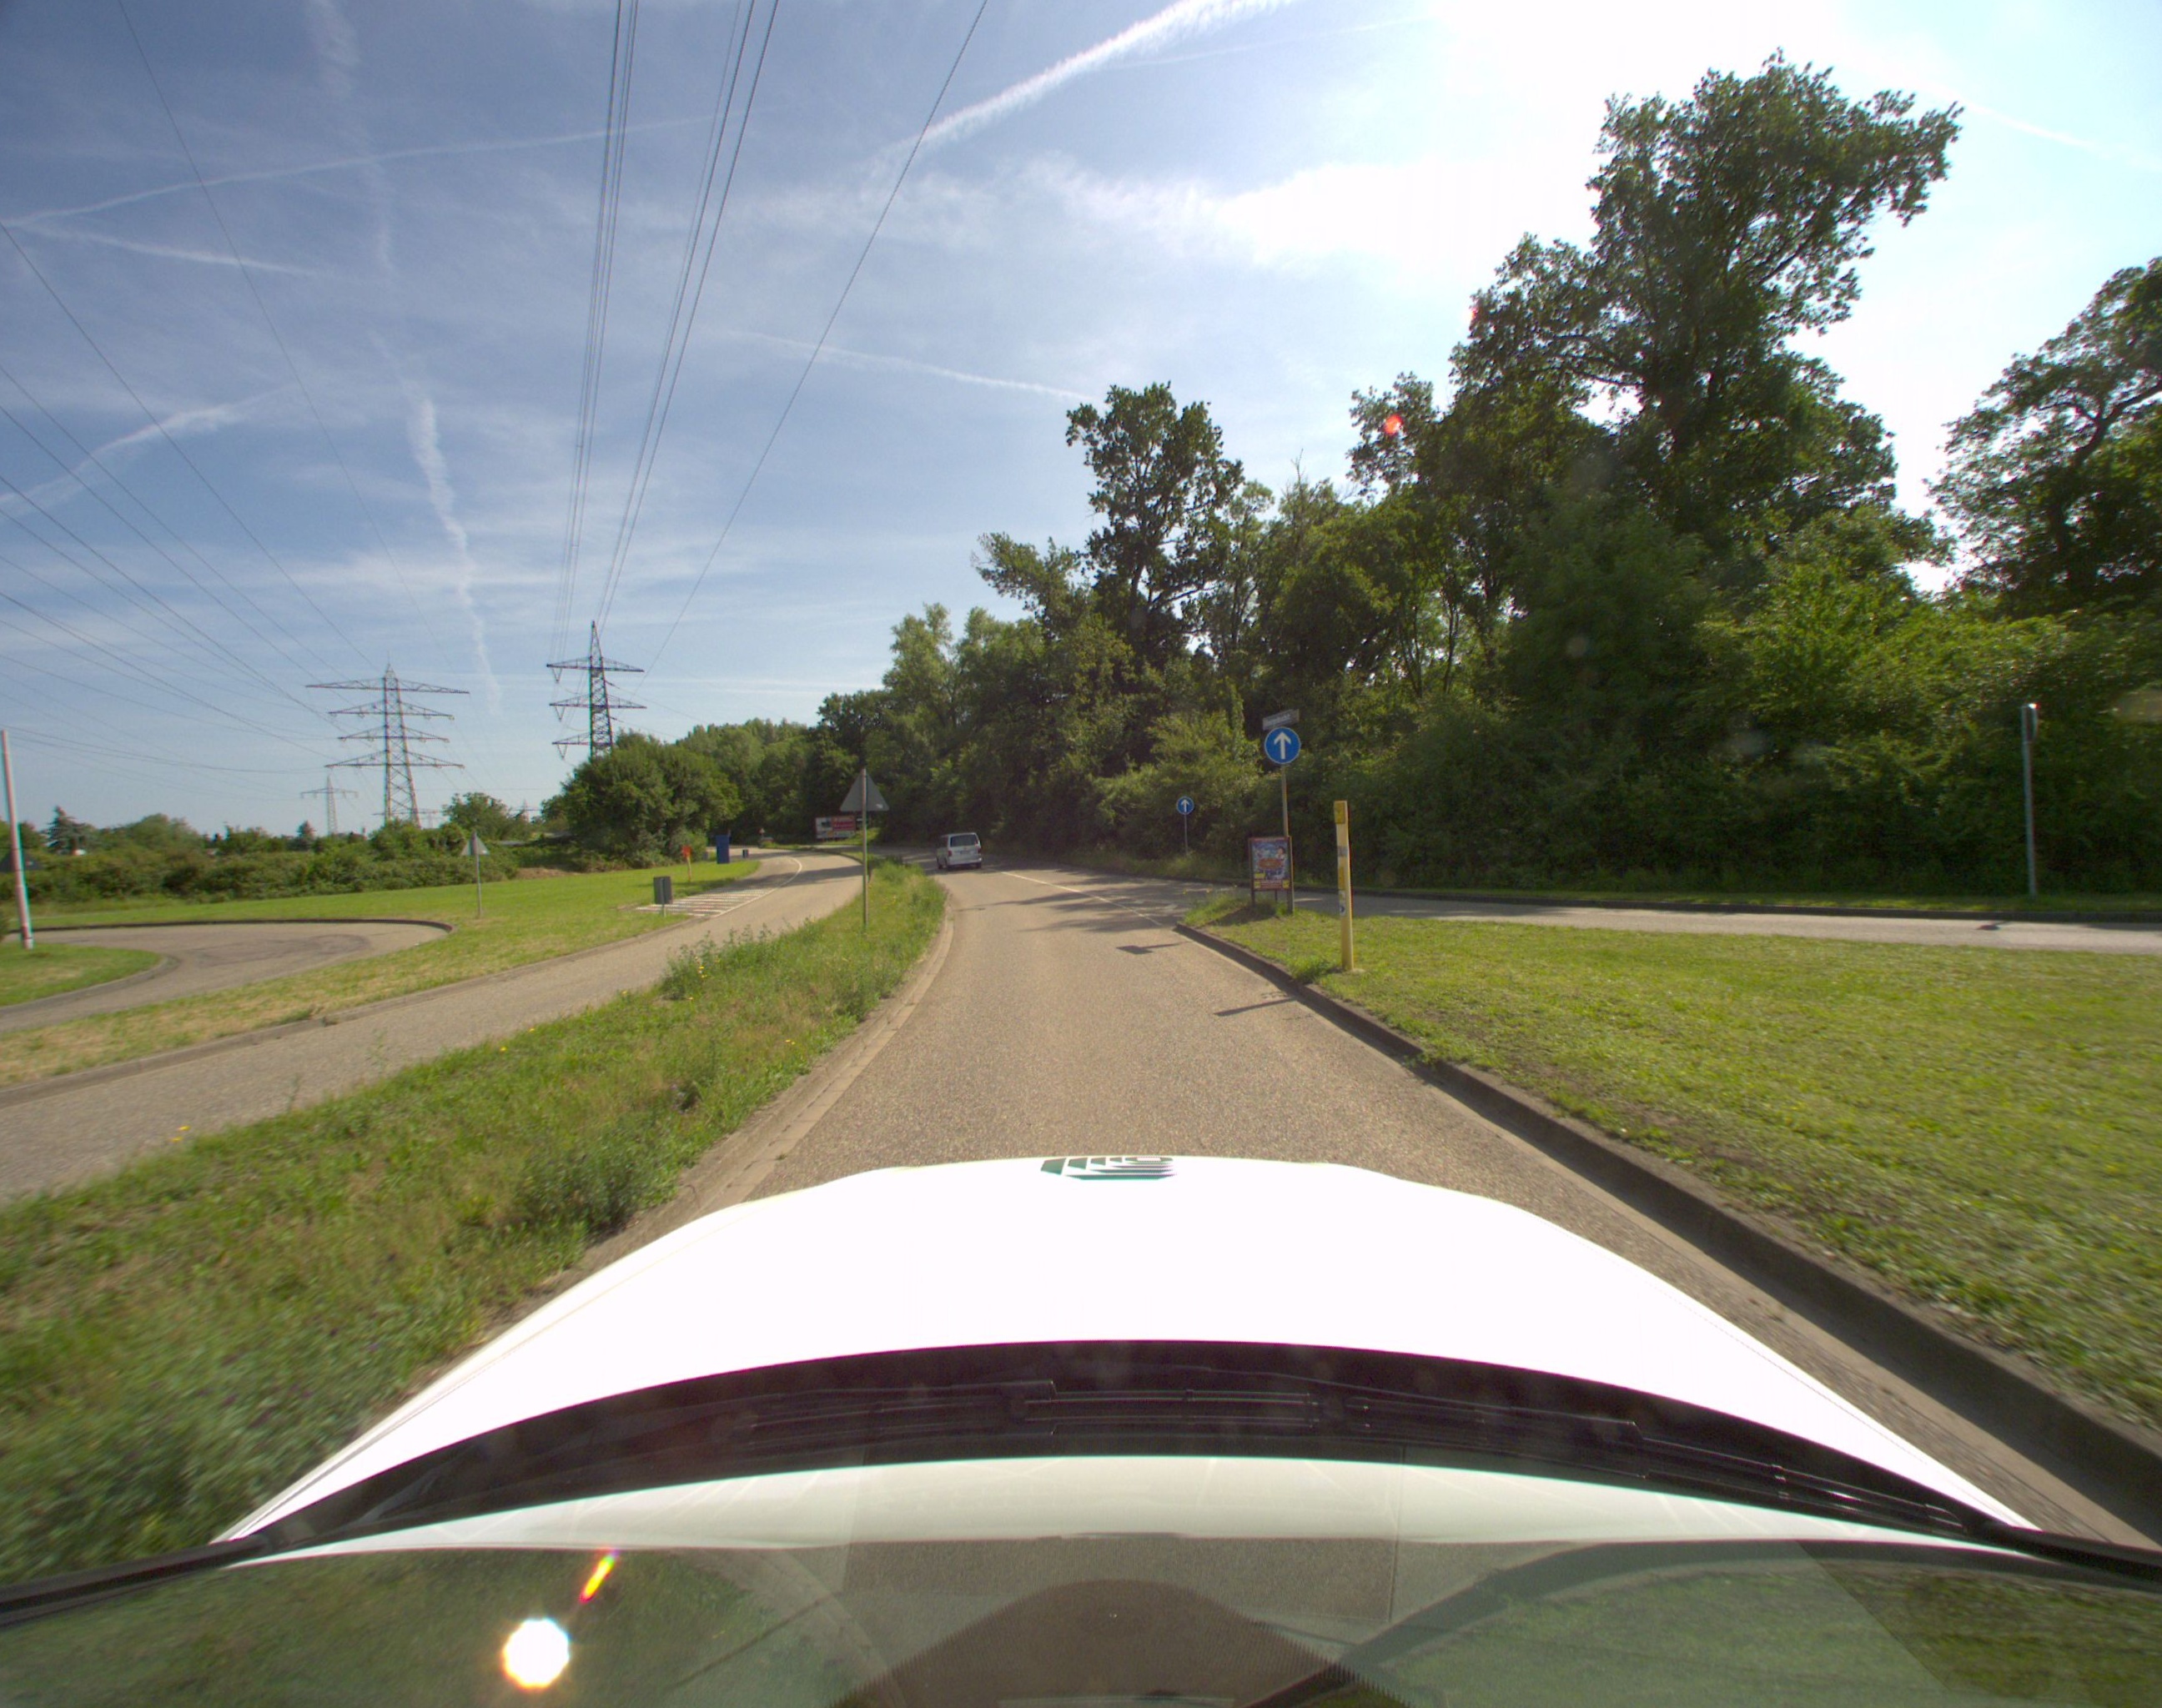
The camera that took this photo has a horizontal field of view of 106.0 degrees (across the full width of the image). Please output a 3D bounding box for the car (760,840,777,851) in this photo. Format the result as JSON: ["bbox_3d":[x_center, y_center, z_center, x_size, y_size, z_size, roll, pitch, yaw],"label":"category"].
[{"bbox_3d":[-48.835,-1.289,127.193,1.659,1.566,3.619,-5,3,-33],"label":"car"}]

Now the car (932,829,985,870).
[{"bbox_3d":[-6.738,-0.233,44.527,2.046,2.013,3.974,-4,1,-19],"label":"car"}]
